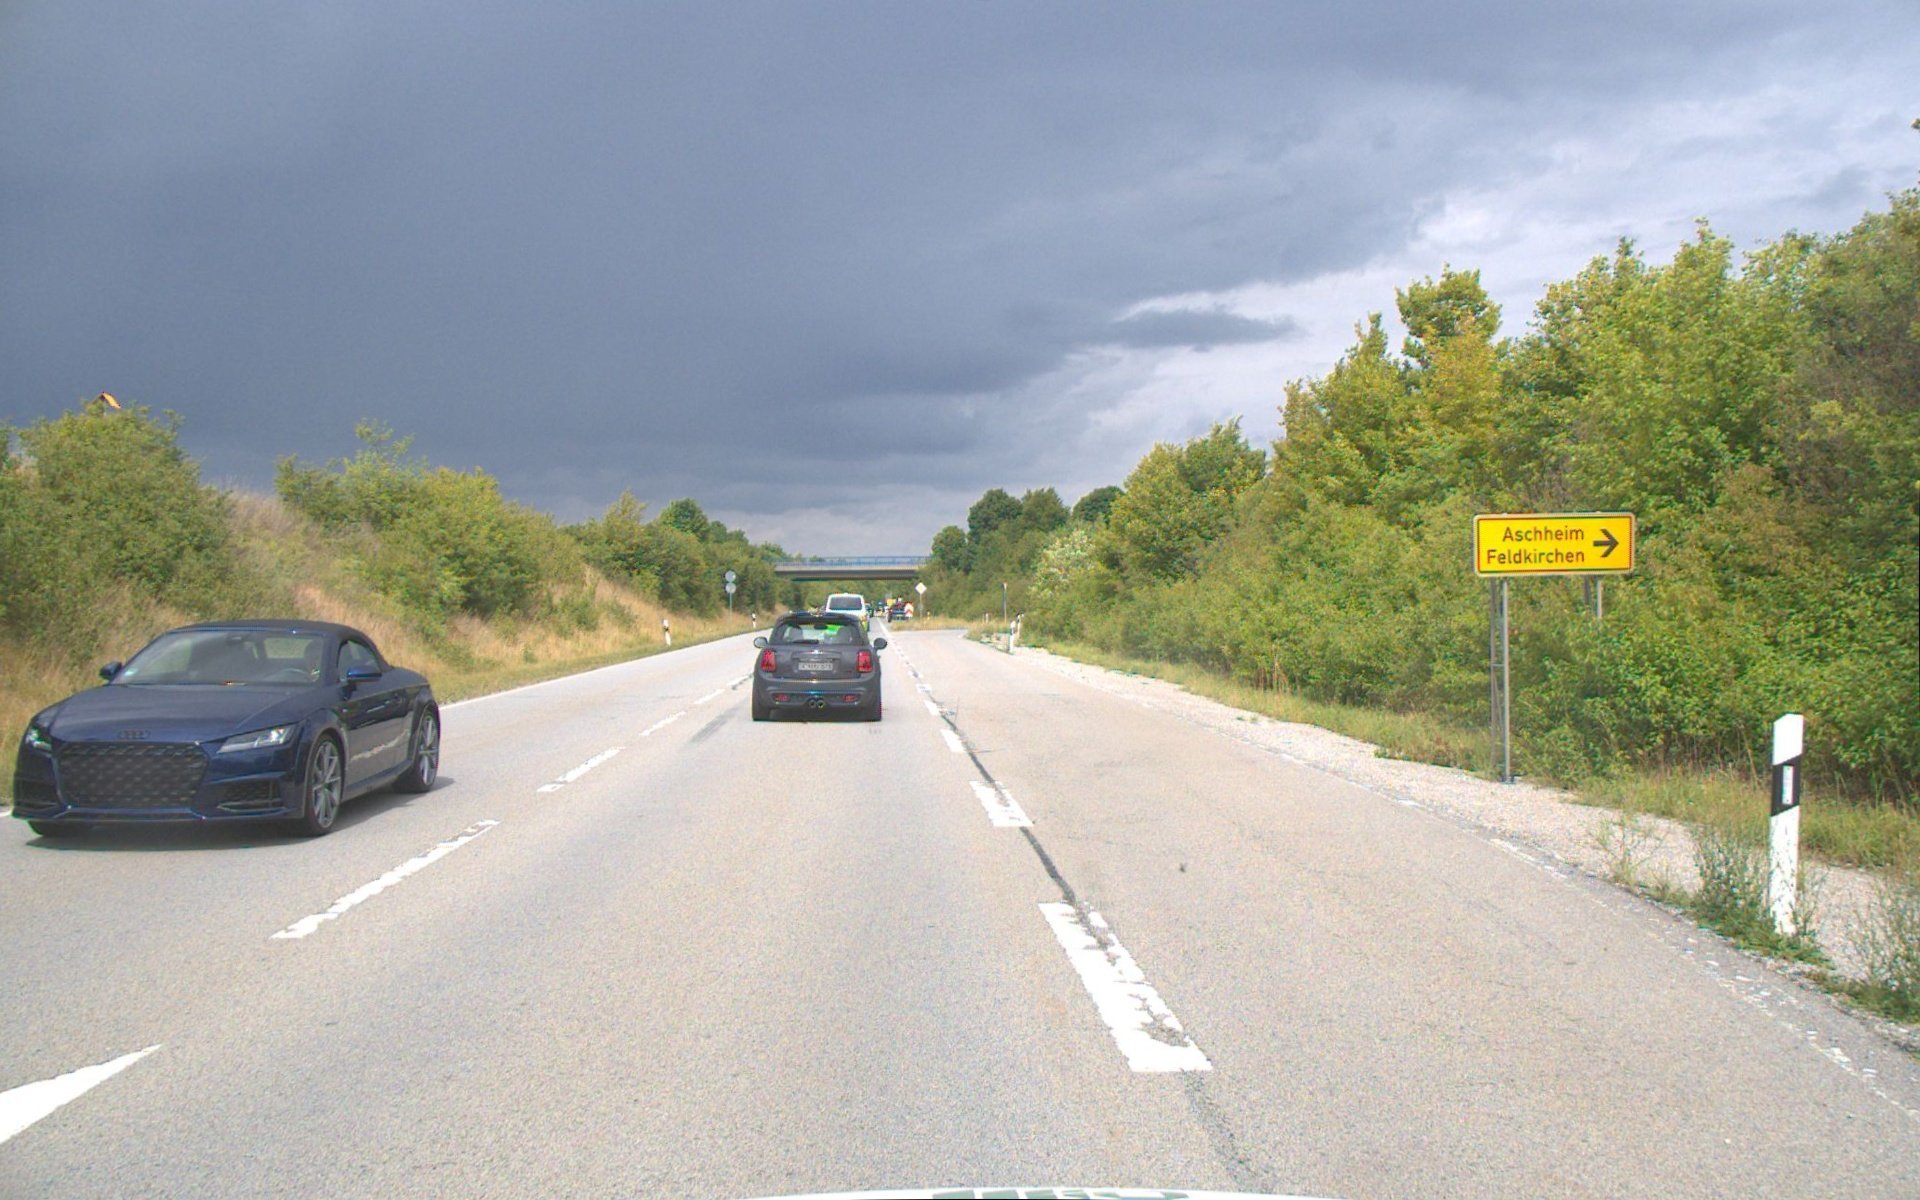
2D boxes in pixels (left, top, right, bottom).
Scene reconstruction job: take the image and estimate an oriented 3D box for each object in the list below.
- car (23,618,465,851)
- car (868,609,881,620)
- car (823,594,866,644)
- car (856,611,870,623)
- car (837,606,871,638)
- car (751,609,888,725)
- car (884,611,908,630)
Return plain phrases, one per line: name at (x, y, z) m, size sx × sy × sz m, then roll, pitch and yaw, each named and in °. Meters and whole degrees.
car at (-4.913, 0.828, 11.983) m, size 1.667 × 1.353 × 3.997 m, roll -1°, pitch 0°, yaw -4°
car at (-11.467, 1.975, 222.504) m, size 1.633 × 1.427 × 3.999 m, roll 0°, pitch 0°, yaw -1°
car at (-4.975, 0.826, 71.625) m, size 1.783 × 2.090 × 3.997 m, roll 1°, pitch 0°, yaw -3°
car at (-11.849, 2.119, 202.296) m, size 1.634 × 1.427 × 3.997 m, roll 0°, pitch 0°, yaw -3°
car at (-6.143, 1.250, 96.306) m, size 1.782 × 1.780 × 3.998 m, roll 1°, pitch 0°, yaw -2°
car at (-1.903, 0.873, 23.094) m, size 1.722 × 1.452 × 3.997 m, roll 1°, pitch 0°, yaw -3°
car at (-5.756, 1.843, 149.109) m, size 1.955 × 1.579 × 3.995 m, roll 1°, pitch 0°, yaw -5°
